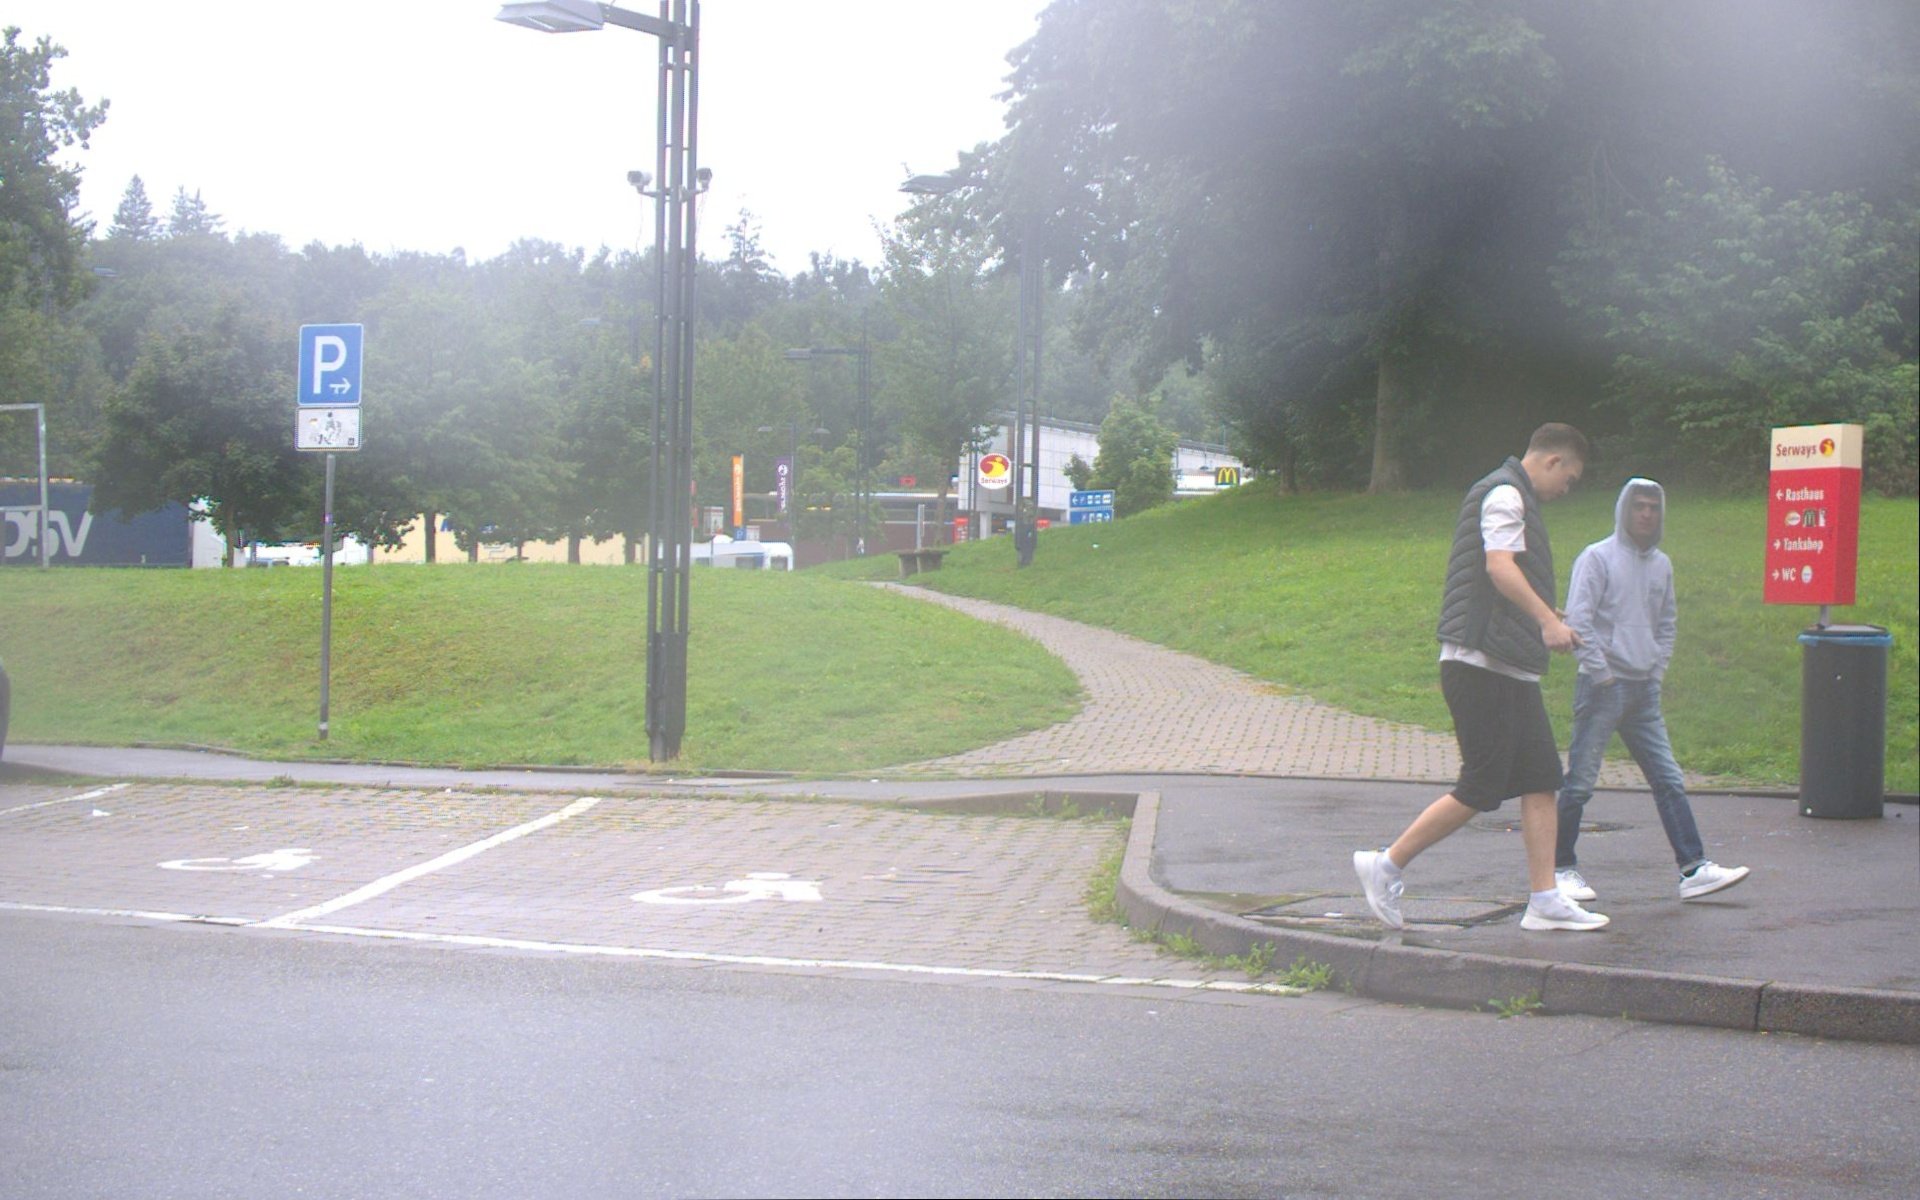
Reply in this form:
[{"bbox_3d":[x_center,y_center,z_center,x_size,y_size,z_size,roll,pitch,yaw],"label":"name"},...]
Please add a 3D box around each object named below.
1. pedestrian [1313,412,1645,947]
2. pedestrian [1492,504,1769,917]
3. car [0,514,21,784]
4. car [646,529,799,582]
[{"bbox_3d":[1.879,0.265,12.407,0.974,1.842,0.772,0,1,28],"label":"pedestrian"},{"bbox_3d":[2.611,0.406,13.366,0.890,1.544,0.659,0,1,29],"label":"pedestrian"},{"bbox_3d":[-7.763,0.369,21.470,1.885,1.821,4.411,0,1,11],"label":"car"},{"bbox_3d":[-9.239,-1.743,133.797,5.429,2.007,2.453,1,1,20],"label":"car"}]
